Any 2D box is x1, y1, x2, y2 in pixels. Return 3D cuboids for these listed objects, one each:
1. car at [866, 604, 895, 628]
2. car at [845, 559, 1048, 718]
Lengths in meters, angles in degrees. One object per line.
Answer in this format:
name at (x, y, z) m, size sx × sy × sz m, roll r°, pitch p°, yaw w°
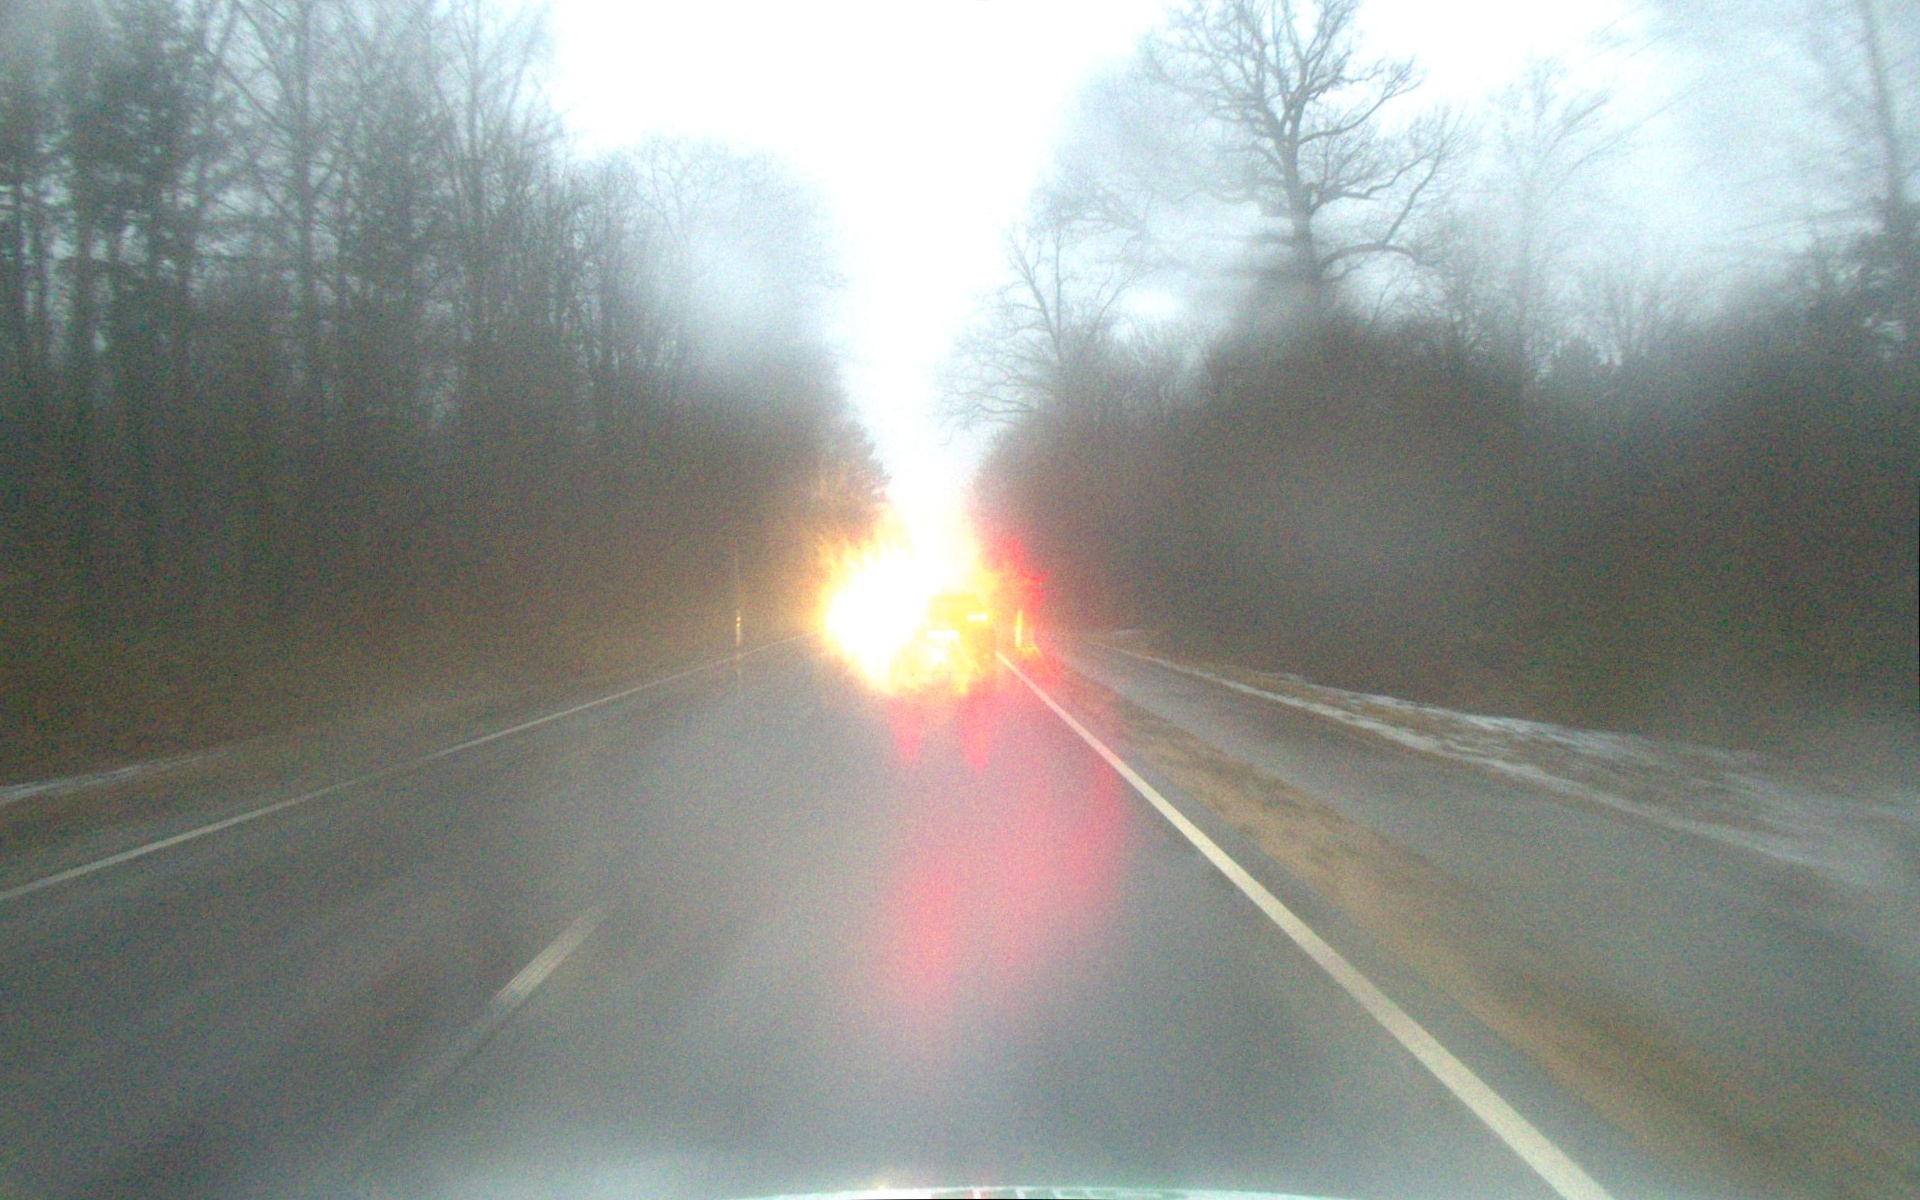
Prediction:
car at (-4.978, 0.995, 103.727) m, size 1.657 × 1.445 × 3.999 m, roll -1°, pitch 1°, yaw -1°
car at (-0.198, 0.614, 29.055) m, size 3.118 × 2.428 × 6.636 m, roll 1°, pitch 0°, yaw 0°
